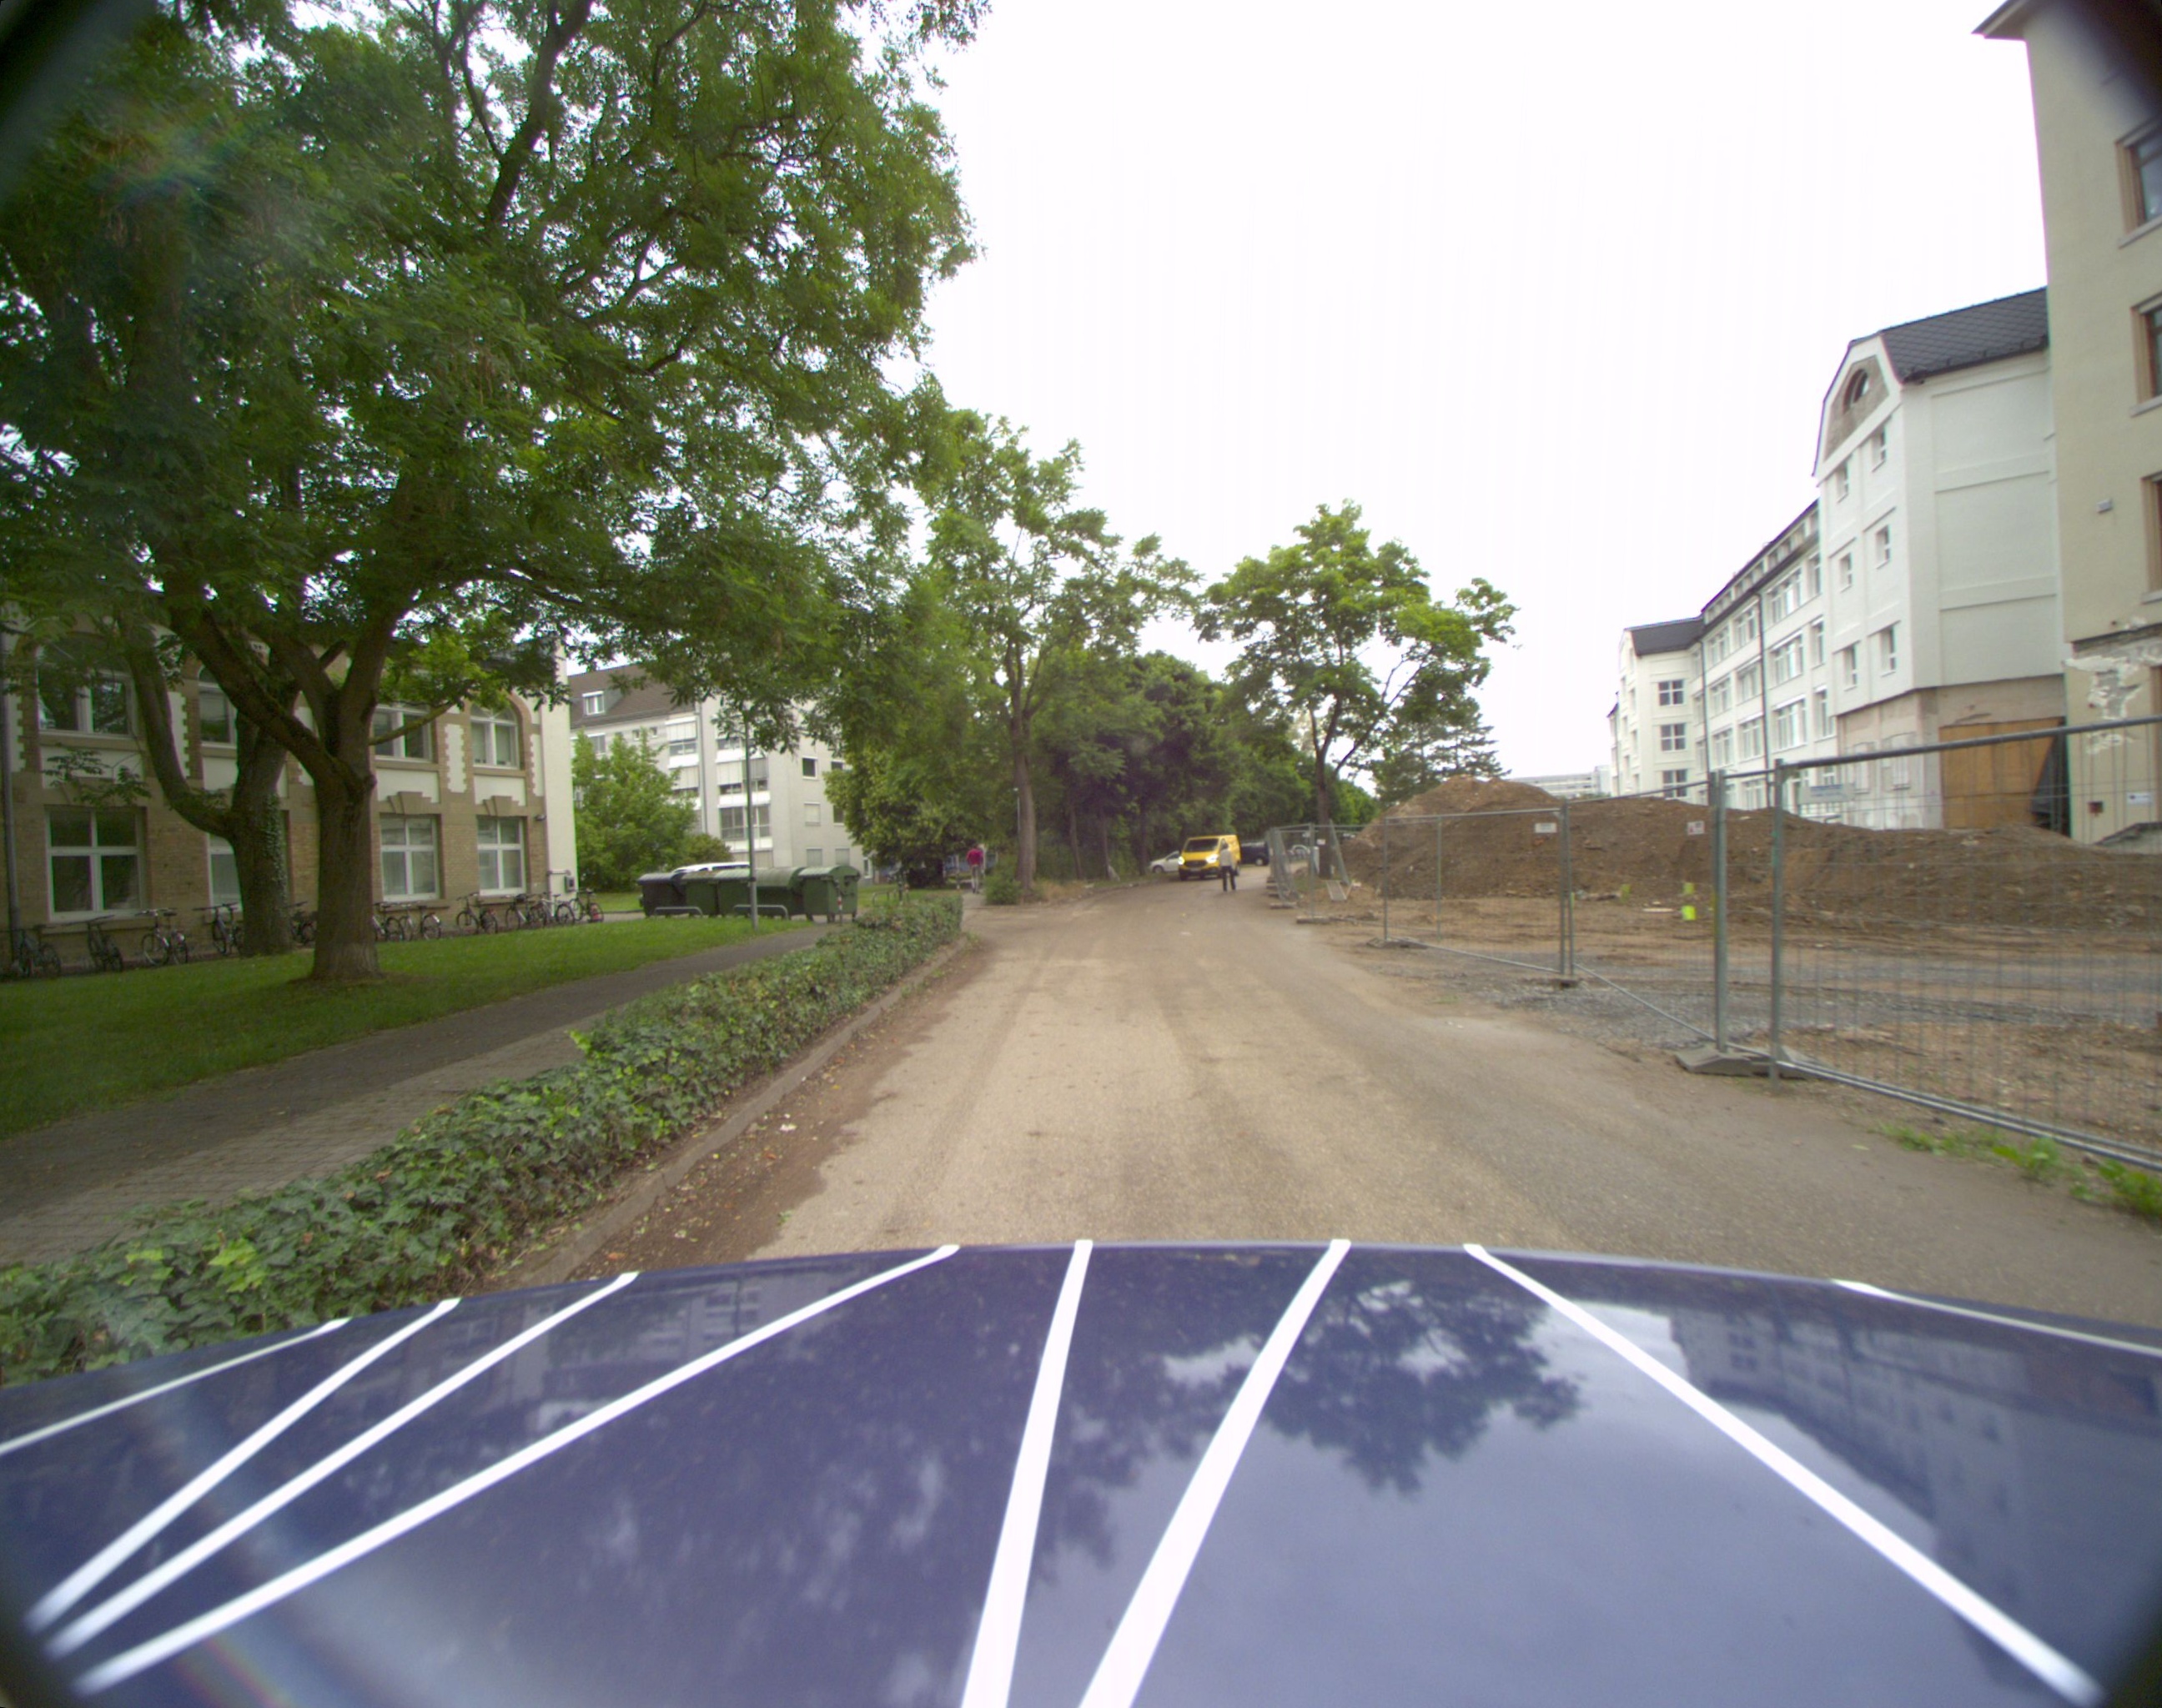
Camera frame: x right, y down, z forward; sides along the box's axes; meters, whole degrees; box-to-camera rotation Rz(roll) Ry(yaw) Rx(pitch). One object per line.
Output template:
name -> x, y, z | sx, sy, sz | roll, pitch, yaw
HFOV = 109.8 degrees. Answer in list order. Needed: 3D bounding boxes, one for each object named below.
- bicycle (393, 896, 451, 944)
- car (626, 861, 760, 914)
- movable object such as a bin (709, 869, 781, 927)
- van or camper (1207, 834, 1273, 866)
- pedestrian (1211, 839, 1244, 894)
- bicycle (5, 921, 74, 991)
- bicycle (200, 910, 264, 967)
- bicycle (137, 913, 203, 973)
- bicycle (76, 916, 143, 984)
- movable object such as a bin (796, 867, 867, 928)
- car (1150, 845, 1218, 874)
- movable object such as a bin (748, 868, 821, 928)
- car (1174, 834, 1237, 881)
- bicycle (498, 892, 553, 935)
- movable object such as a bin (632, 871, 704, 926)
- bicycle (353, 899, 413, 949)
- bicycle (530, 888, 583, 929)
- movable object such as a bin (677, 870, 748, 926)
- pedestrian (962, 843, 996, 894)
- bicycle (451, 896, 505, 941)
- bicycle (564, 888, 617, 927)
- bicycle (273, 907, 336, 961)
bicycle -> -16.293, 1.626, 18.771 | 1.740, 1.108, 0.461 | -2, 1, 28
car -> -16.586, 1.404, 32.734 | 1.897, 1.862, 4.781 | -5, -1, 28
movable object such as a bin -> -8.999, 1.180, 20.403 | 1.291, 1.442, 1.110 | -3, 1, 22
van or camper -> 12.161, -0.321, 58.000 | 4.490, 2.245, 2.003 | -2, 1, 27
pedestrian -> 4.812, 0.409, 24.975 | 0.752, 1.771, 0.661 | -3, 1, -24
bicycle -> -18.733, 1.804, 13.661 | 1.740, 1.108, 0.461 | -1, 1, 28
bicycle -> -17.805, 1.759, 15.931 | 1.740, 1.108, 0.461 | -2, 1, 28
bicycle -> -18.070, 1.747, 15.064 | 1.740, 1.108, 0.461 | -2, 1, 28
bicycle -> -18.359, 1.785, 14.348 | 1.740, 1.108, 0.461 | 0, 2, 28
movable object such as a bin -> -6.261, 1.070, 19.089 | 1.272, 1.426, 1.074 | -2, 1, 36
car -> 6.358, 0.332, 46.647 | 3.879, 1.565, 1.754 | -2, 1, 15
movable object such as a bin -> -7.637, 1.137, 19.612 | 1.283, 1.442, 1.110 | -3, 1, 23
car -> 5.849, 0.129, 35.284 | 2.121, 2.002, 4.005 | -2, 0, 20
bicycle -> -15.299, 1.627, 20.913 | 1.740, 1.108, 0.461 | -2, 1, 28
movable object such as a bin -> -11.727, 1.256, 21.585 | 1.359, 1.442, 1.110 | -3, 1, 21
bicycle -> -16.606, 1.650, 18.073 | 1.740, 1.108, 0.461 | -2, 1, 28
bicycle -> -14.969, 1.550, 21.667 | 1.740, 1.108, 0.461 | -2, 1, 28
movable object such as a bin -> -10.232, 1.219, 21.128 | 1.324, 1.442, 1.110 | -3, 1, 22
pedestrian -> -4.215, 0.606, 31.467 | 0.793, 2.052, 1.203 | -2, 1, 22
bicycle -> -15.716, 1.671, 19.787 | 1.740, 1.108, 0.461 | -2, 1, 30
bicycle -> -14.497, 1.577, 22.434 | 1.740, 1.108, 0.461 | -2, 1, 28
bicycle -> -17.101, 1.748, 16.729 | 1.740, 1.108, 0.461 | -2, 1, 28
